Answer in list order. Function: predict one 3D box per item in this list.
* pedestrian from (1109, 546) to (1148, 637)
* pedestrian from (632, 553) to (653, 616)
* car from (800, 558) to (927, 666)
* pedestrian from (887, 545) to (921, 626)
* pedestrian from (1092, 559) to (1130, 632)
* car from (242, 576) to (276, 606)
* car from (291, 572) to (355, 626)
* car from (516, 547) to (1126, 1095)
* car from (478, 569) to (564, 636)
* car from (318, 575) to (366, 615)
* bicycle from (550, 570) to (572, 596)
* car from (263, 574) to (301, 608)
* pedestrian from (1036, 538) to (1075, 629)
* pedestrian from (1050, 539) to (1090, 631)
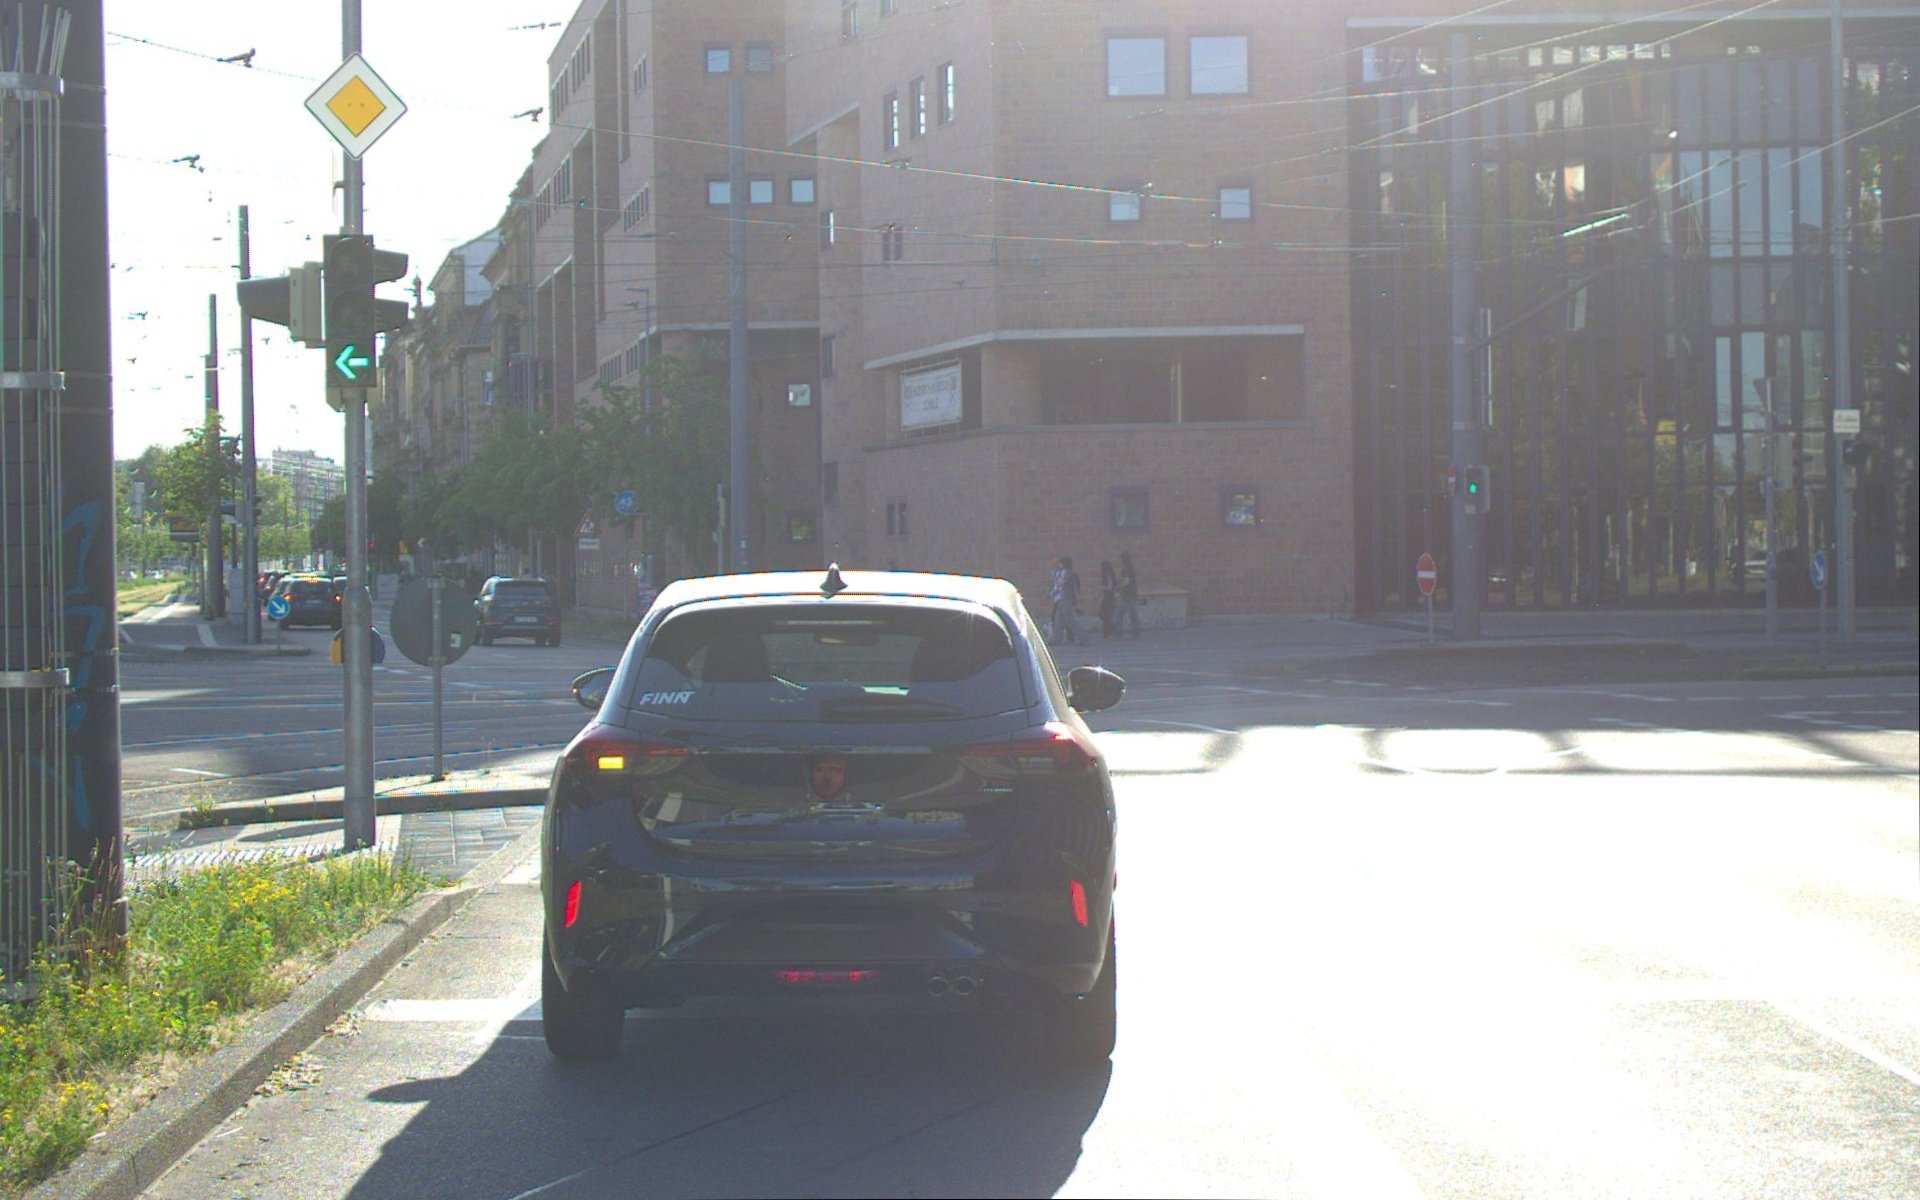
[{"bbox_3d":[3.368,-0.171,68.763,0.571,1.780,0.549,-2,1,-19],"label":"pedestrian"},{"bbox_3d":[-9.240,-0.458,100.088,0.547,1.780,0.573,-1,3,-8],"label":"pedestrian"},{"bbox_3d":[-1.401,0.140,48.781,1.559,1.451,3.432,-1,1,-5],"label":"car"},{"bbox_3d":[-1.260,-0.327,77.156,0.640,1.780,0.688,-2,1,-8],"label":"pedestrian"},{"bbox_3d":[3.072,-0.093,70.063,0.547,1.472,0.573,-2,2,-29],"label":"pedestrian"},{"bbox_3d":[-34.847,-0.458,170.890,1.514,1.448,3.585,-2,1,-13],"label":"car"},{"bbox_3d":[-18.263,-0.044,98.517,1.720,1.448,3.699,-2,1,-11],"label":"car"},{"bbox_3d":[-0.406,0.583,11.334,1.672,1.496,3.691,1,1,-1],"label":"car"},{"bbox_3d":[-10.084,0.033,78.878,1.670,1.448,3.699,-2,1,-11],"label":"car"},{"bbox_3d":[-23.925,-0.204,133.026,1.720,1.448,3.699,-2,1,-11],"label":"car"},{"bbox_3d":[-14.709,-0.630,126.716,0.648,0.901,2.346,-1,1,-10],"label":"bicycle"},{"bbox_3d":[-30.833,-0.415,156.221,1.514,1.448,3.585,-2,1,-13],"label":"car"},{"bbox_3d":[1.885,-0.324,67.819,0.571,1.780,0.549,-2,1,-19],"label":"pedestrian"},{"bbox_3d":[2.140,-0.297,67.107,0.571,1.780,0.549,-2,1,-19],"label":"pedestrian"}]
